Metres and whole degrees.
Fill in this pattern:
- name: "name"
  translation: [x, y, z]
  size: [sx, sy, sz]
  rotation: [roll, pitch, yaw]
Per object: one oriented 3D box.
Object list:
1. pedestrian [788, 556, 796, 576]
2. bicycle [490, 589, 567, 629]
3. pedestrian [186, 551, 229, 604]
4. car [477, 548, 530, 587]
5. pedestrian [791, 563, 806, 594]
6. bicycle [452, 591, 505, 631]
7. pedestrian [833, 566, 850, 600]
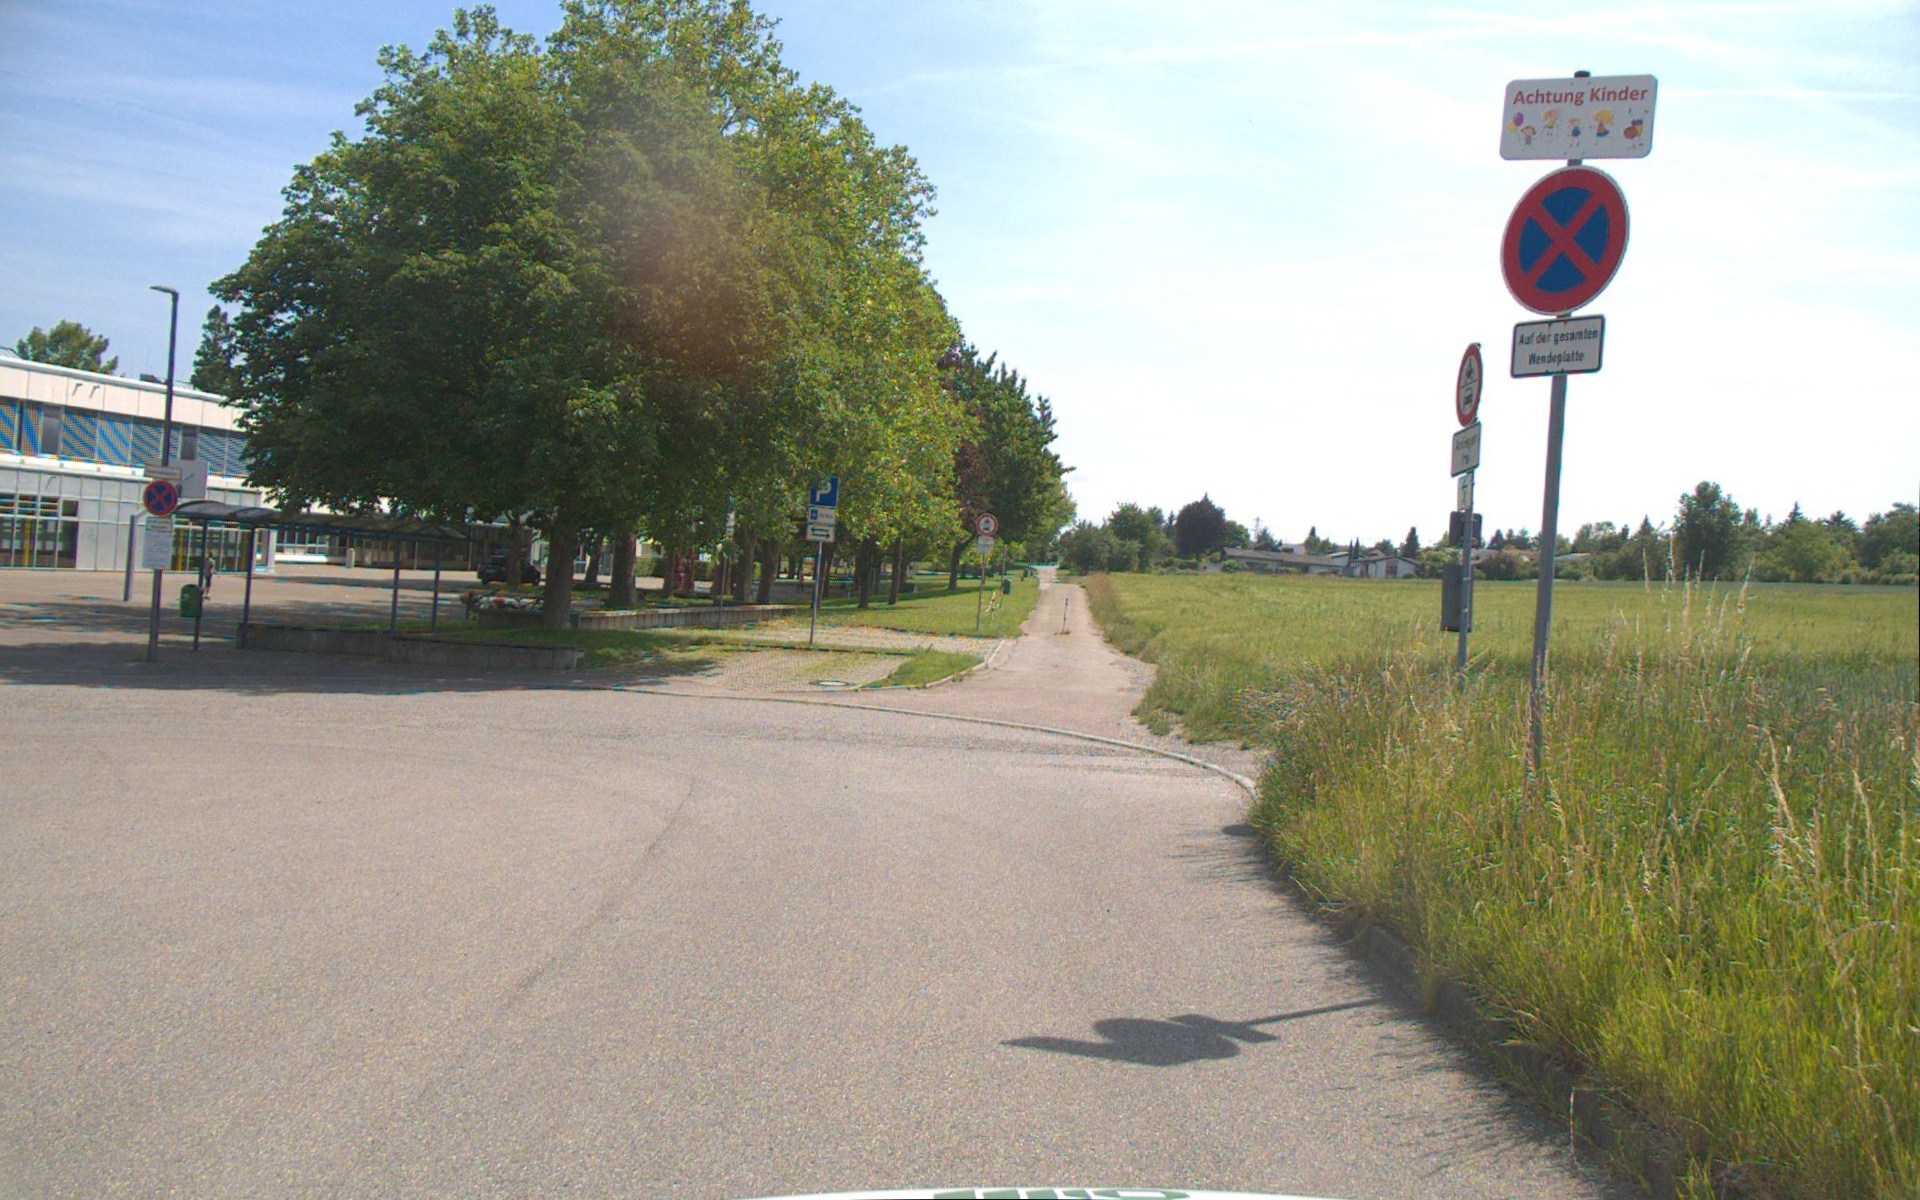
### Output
- name: "pedestrian"
  translation: [-17.078, -3.439, 167.739]
  size: [0.707, 2.049, 0.683]
  rotation: [0, 0, 5]
- name: "bicycle"
  translation: [-12.248, 0.260, 46.994]
  size: [2.022, 1.057, 0.571]
  rotation: [2, 0, -6]
- name: "pedestrian"
  translation: [-22.010, -0.661, 48.360]
  size: [1.053, 1.448, 0.912]
  rotation: [3, 0, -26]
- name: "car"
  translation: [-23.152, -1.622, 83.970]
  size: [1.656, 1.866, 3.411]
  rotation: [3, 0, 0]
- name: "pedestrian"
  translation: [-10.978, -1.483, 112.424]
  size: [0.818, 2.048, 0.689]
  rotation: [3, 0, -14]
- name: "bicycle"
  translation: [-13.007, 0.289, 44.736]
  size: [0.582, 1.057, 1.894]
  rotation: [2, 0, 10]
- name: "pedestrian"
  translation: [-7.419, -1.071, 103.649]
  size: [0.675, 2.048, 0.795]
  rotation: [3, 0, -30]
